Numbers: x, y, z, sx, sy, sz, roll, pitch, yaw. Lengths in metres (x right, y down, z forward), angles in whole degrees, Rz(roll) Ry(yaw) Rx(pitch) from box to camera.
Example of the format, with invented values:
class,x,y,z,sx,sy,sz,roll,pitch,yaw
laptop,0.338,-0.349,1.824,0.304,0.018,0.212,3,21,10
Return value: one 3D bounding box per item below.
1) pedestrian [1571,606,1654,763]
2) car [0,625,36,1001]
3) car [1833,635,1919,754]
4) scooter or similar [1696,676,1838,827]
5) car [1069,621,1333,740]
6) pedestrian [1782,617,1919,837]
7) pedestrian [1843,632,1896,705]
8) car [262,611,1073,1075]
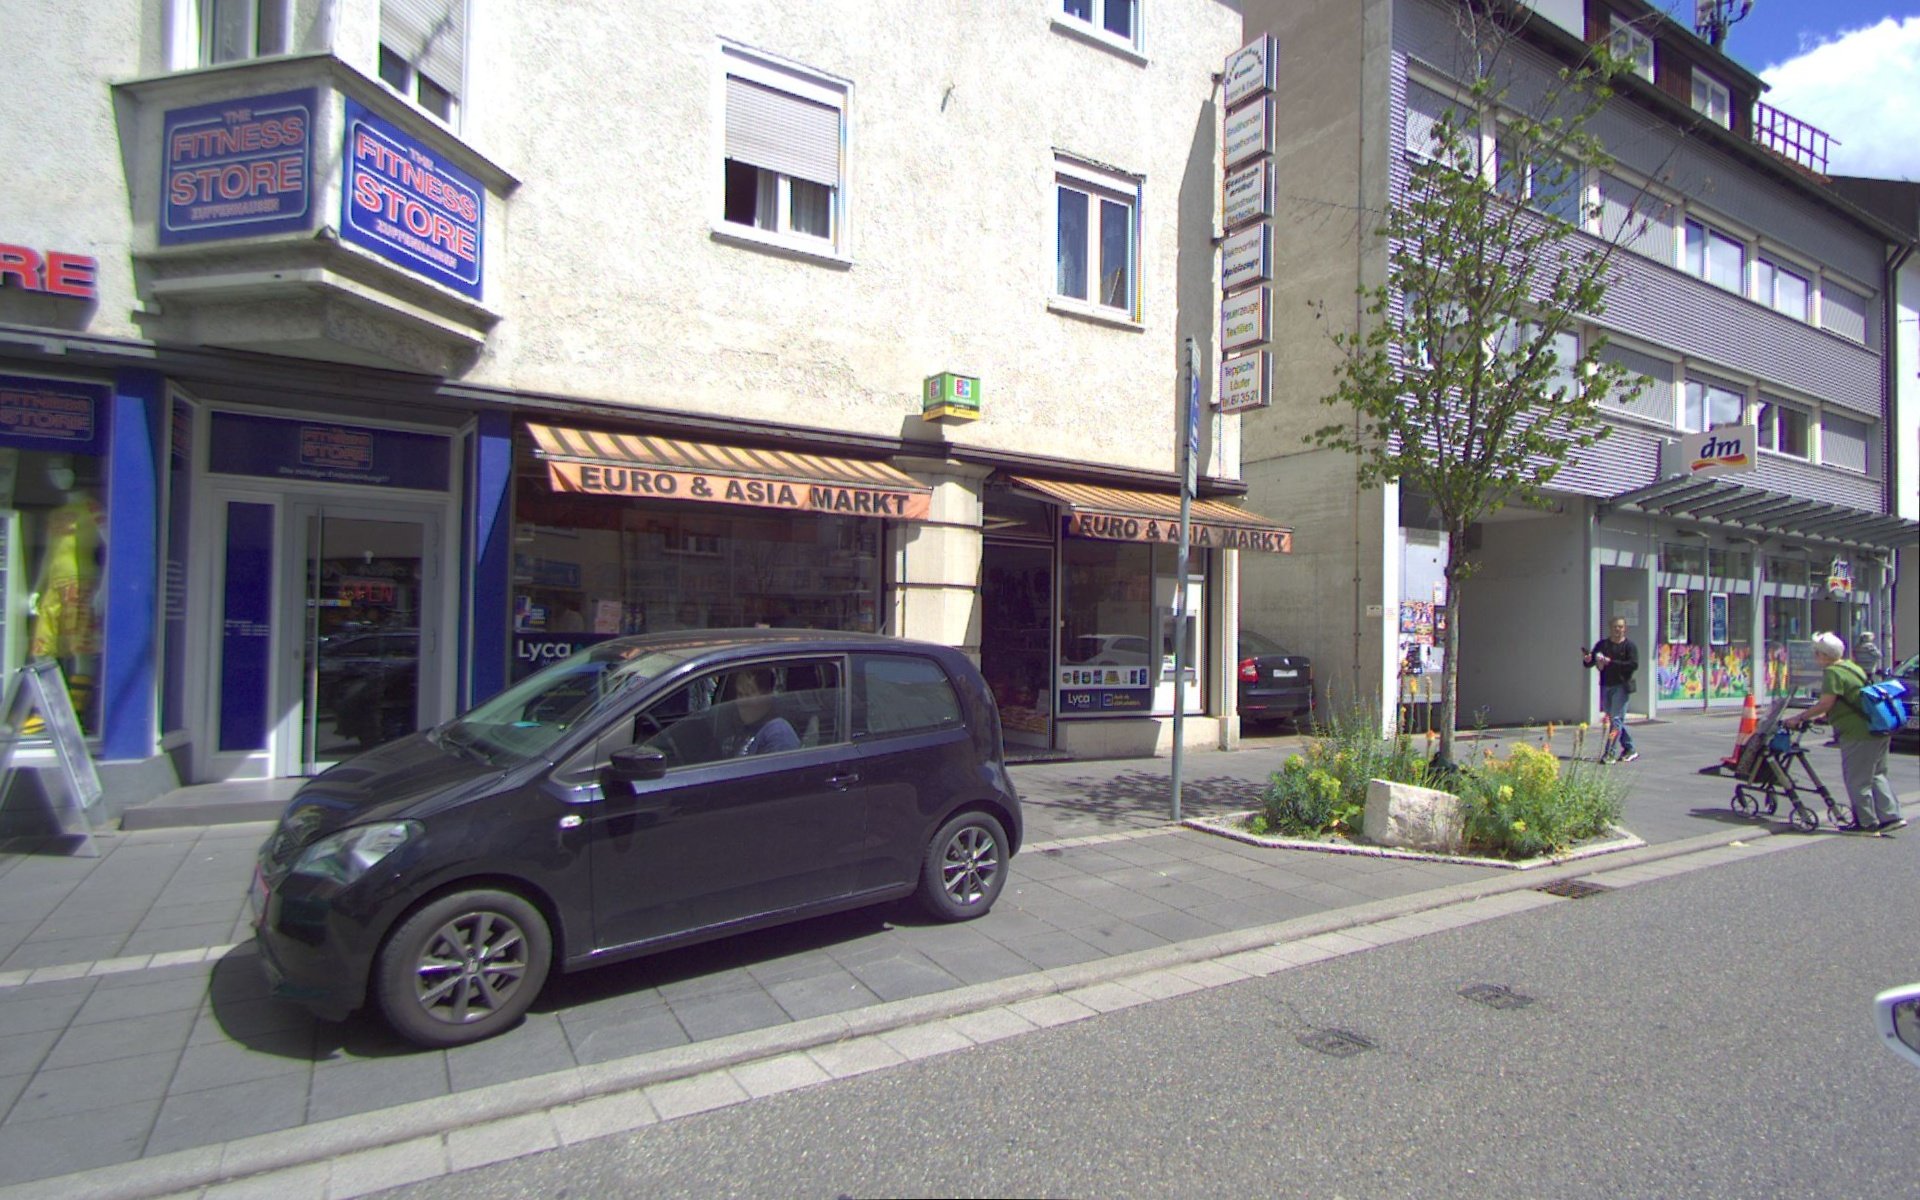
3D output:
class,x,y,z,sx,sy,sz,roll,pitch,yaw
pedestrian,7.705,0.978,11.860,0.721,1.780,0.544,2,0,-34
car,-4.983,0.758,2.488,3.623,1.433,1.579,2,0,-29
car,14.506,1.302,14.306,4.658,1.533,1.781,2,-1,-31
scooter or similar,6.834,1.245,8.518,0.624,1.141,0.776,2,0,-35
car,3.434,1.102,14.996,1.638,1.428,3.801,2,0,-31
pedestrian,7.156,0.970,8.034,0.645,1.639,0.726,2,0,-35
pedestrian,19.073,1.434,21.070,0.556,1.474,0.651,2,0,-30
car,-1.251,0.858,5.008,3.528,1.465,1.584,3,-1,-40
